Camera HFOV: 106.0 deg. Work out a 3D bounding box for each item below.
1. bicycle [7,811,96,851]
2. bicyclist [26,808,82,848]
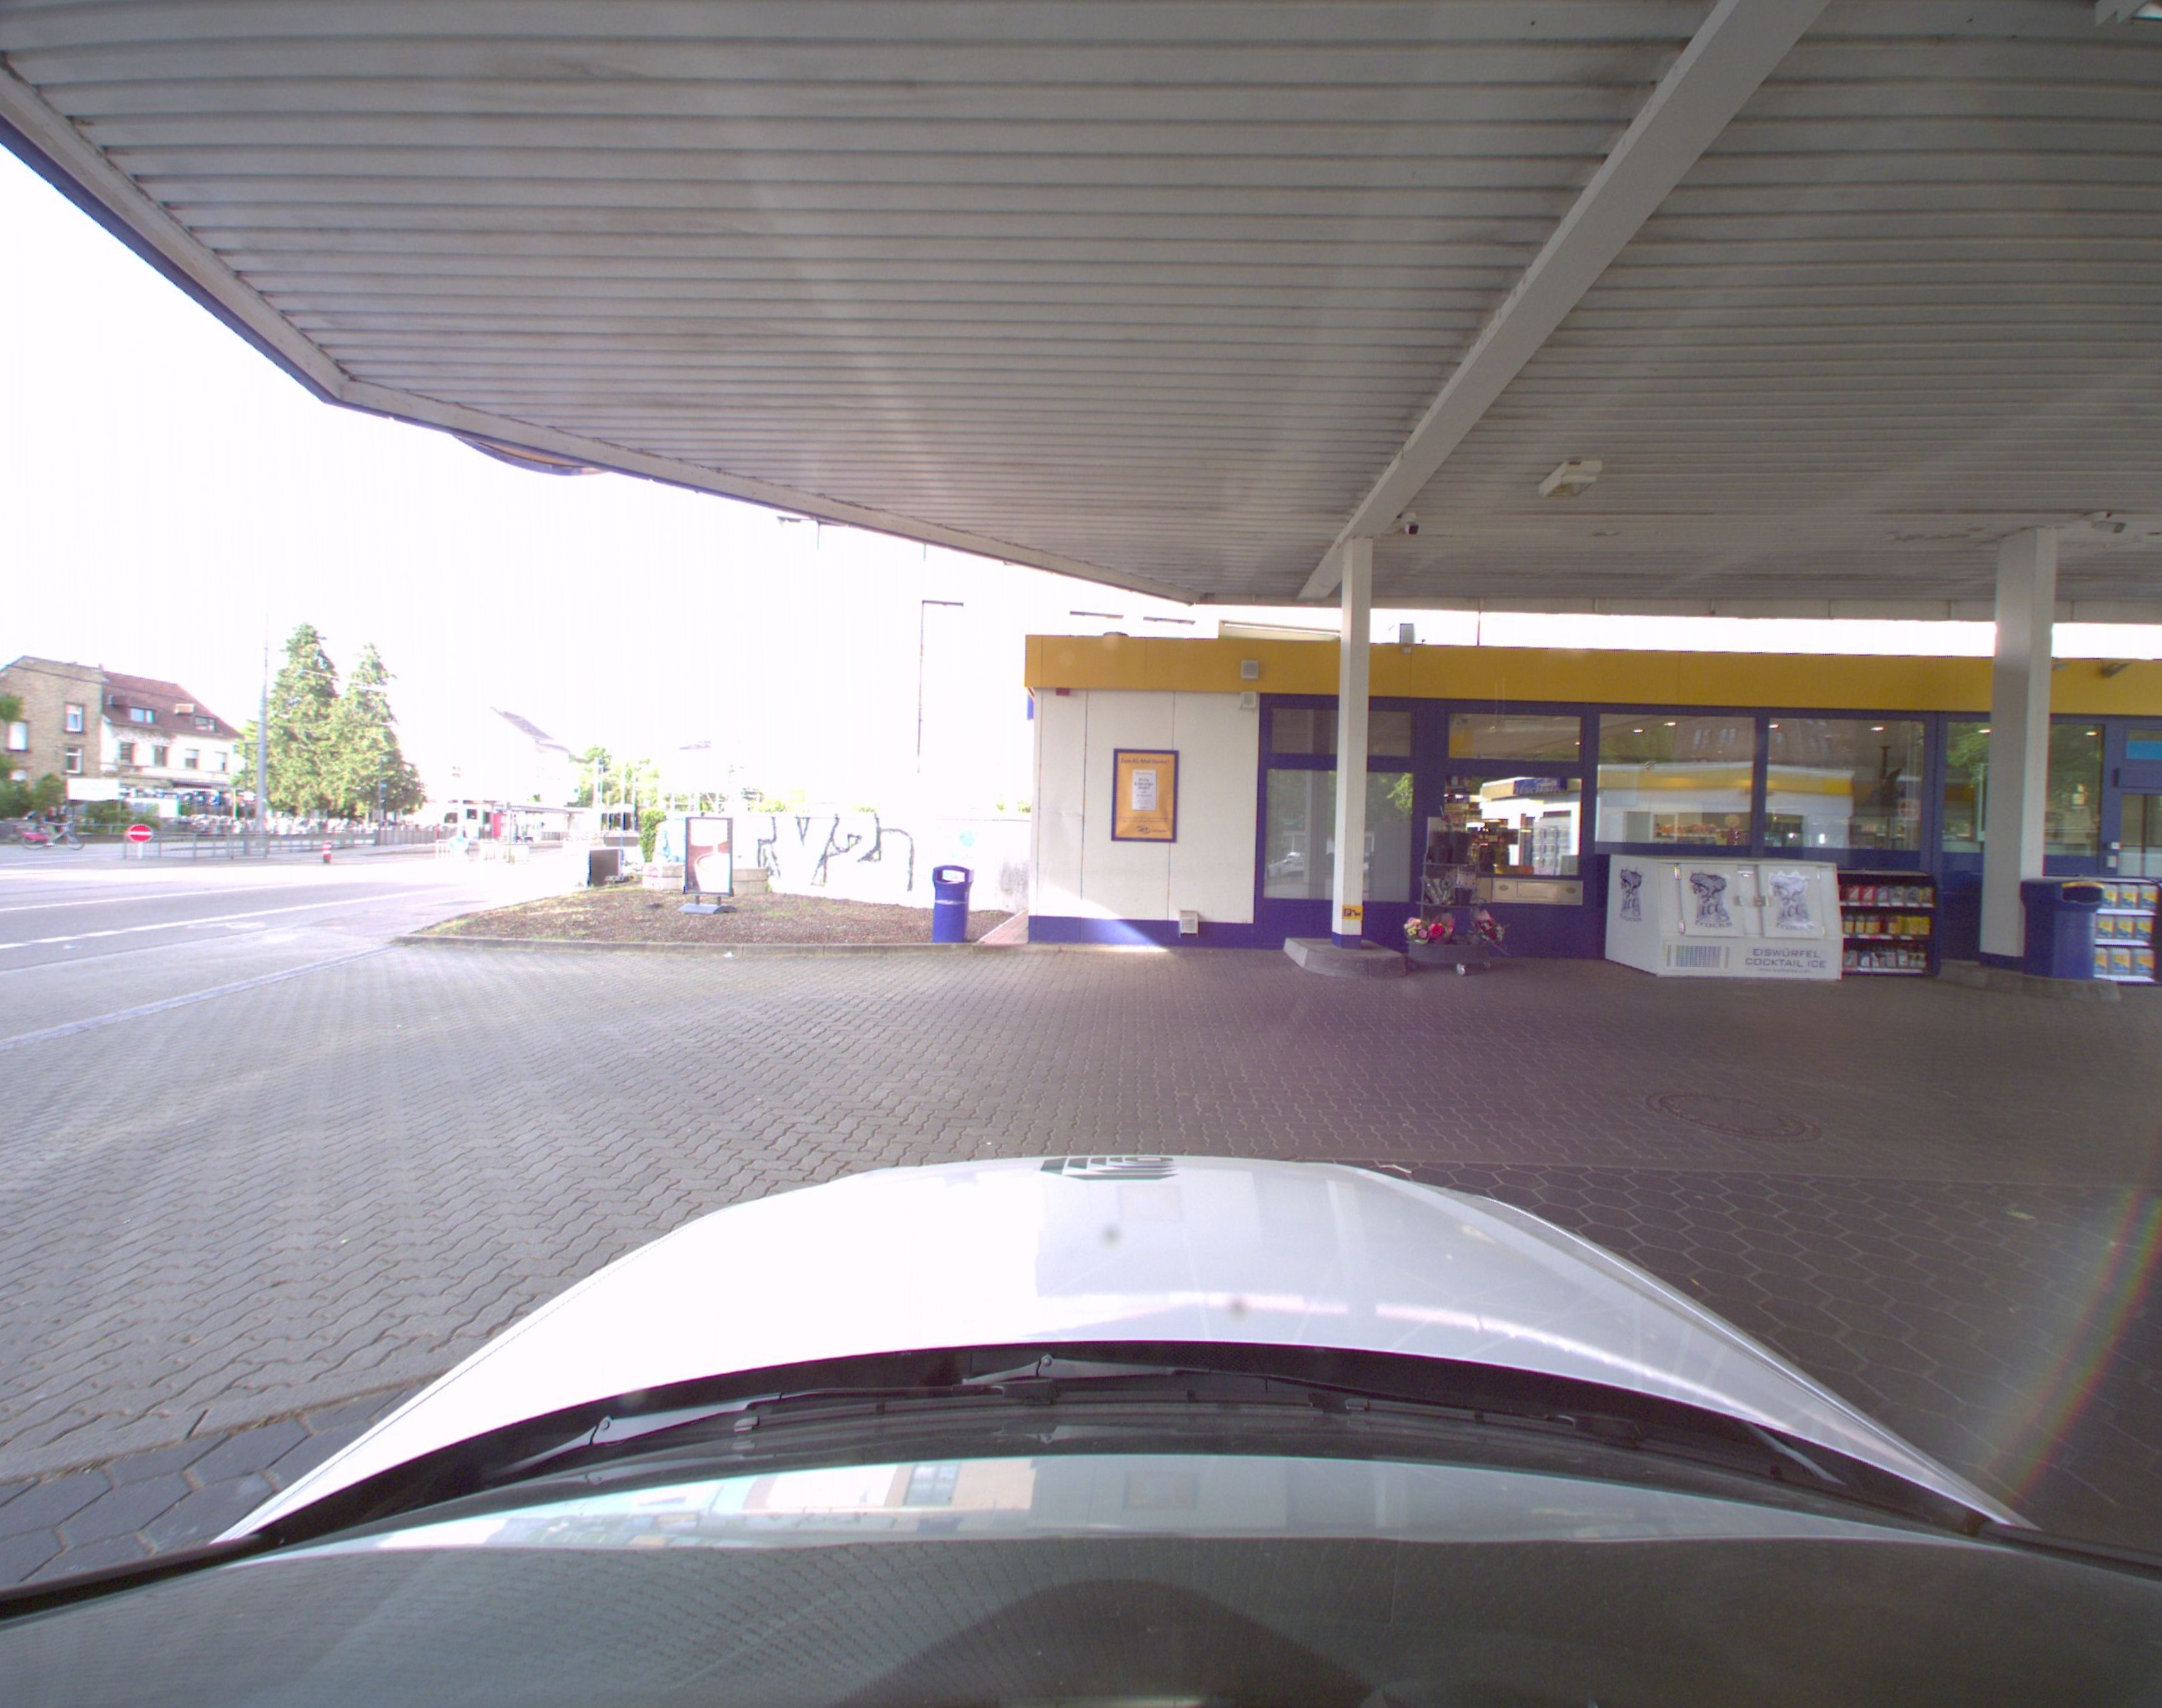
[{"bbox_3d":[-41.231,-0.898,32.643,0.781,1.492,1.998,4,0,12],"label":"bicycle"},{"bbox_3d":[-41.214,-1.032,32.693,0.781,1.492,1.099,4,0,11],"label":"bicyclist"}]
